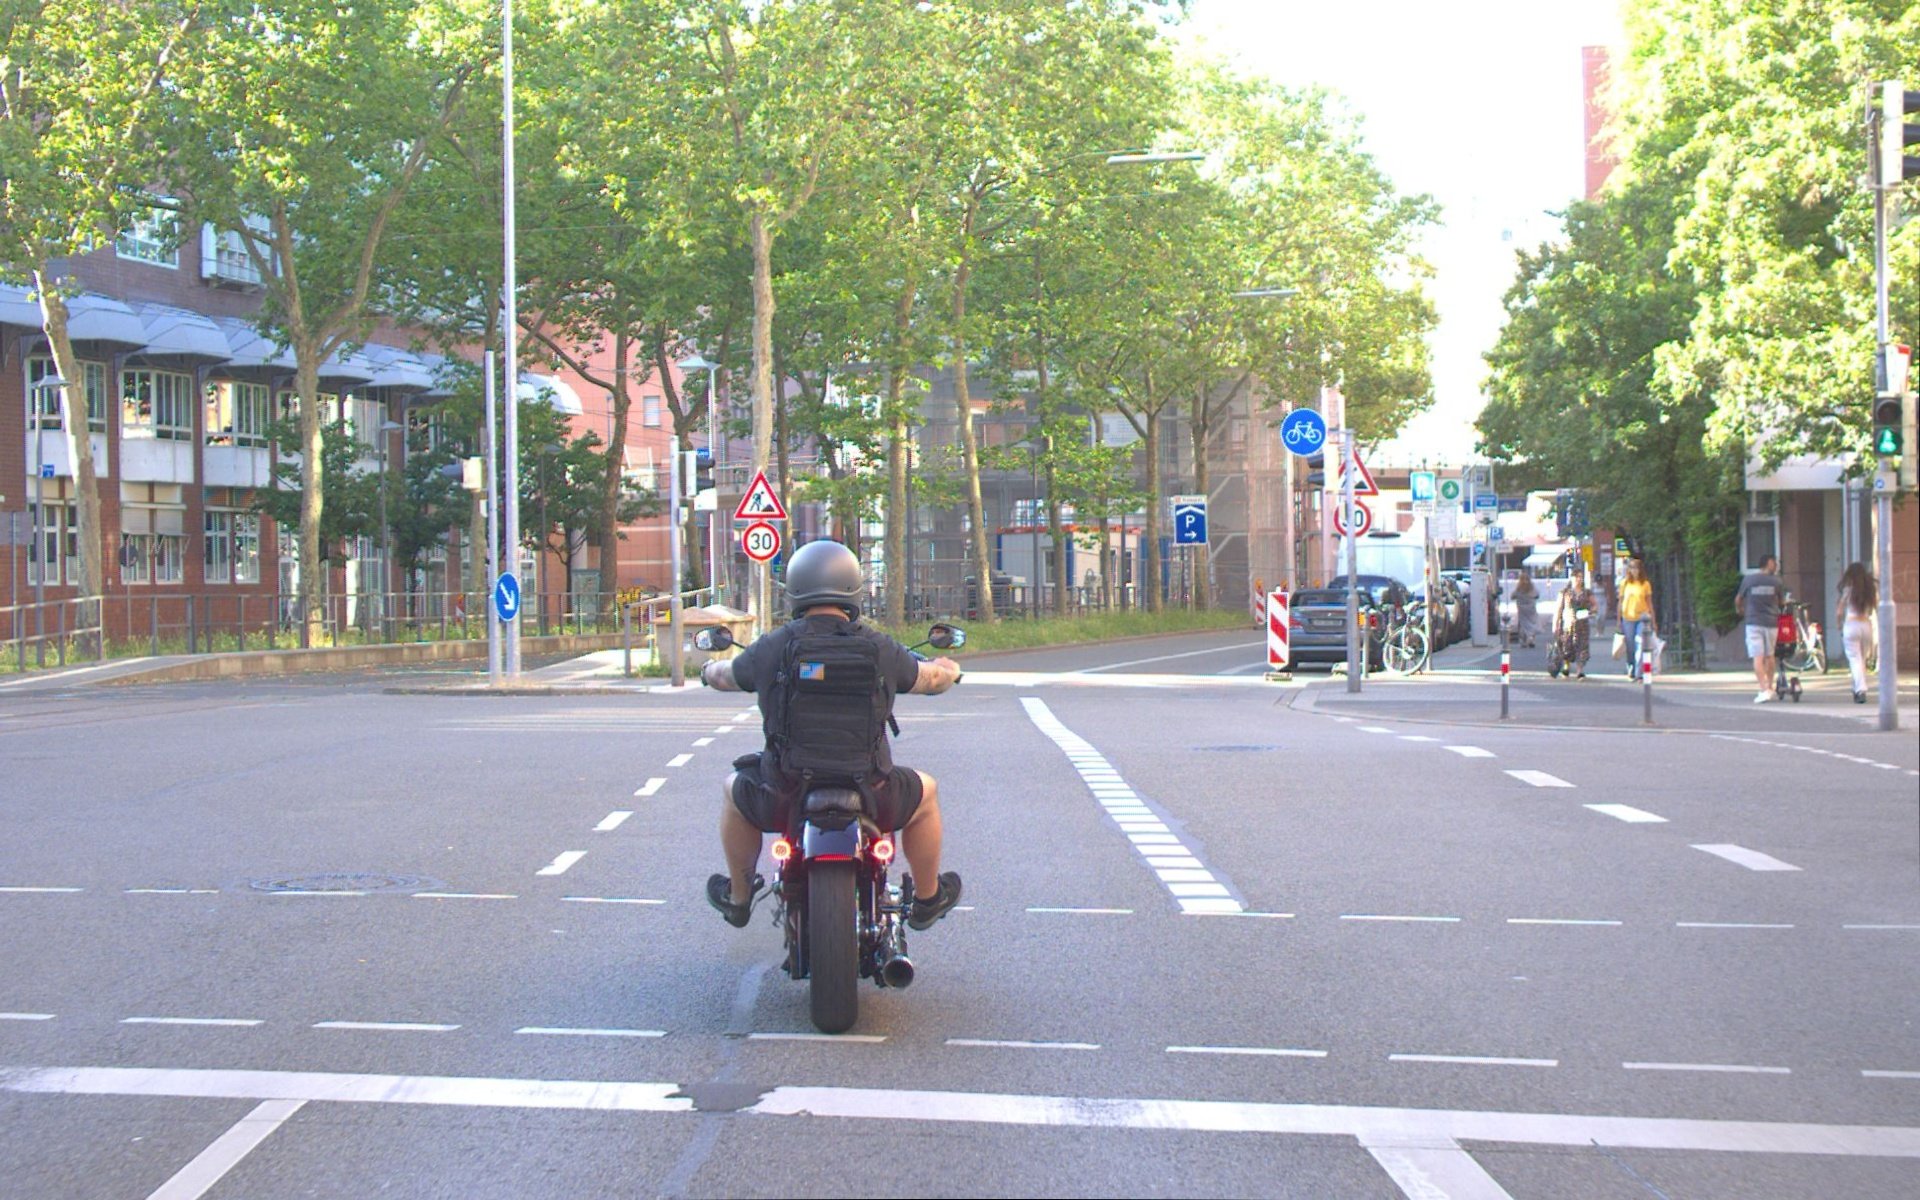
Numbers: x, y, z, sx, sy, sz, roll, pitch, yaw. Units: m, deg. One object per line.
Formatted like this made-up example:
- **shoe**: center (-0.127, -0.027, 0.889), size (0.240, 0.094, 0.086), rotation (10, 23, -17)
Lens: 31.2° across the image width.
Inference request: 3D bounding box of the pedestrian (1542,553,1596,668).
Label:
- **pedestrian**: center (8.406, 0.141, 47.440), size (0.644, 1.573, 0.748), rotation (0, 0, 4)

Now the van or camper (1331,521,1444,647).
- **van or camper**: center (9.040, -0.346, 72.418), size (2.049, 2.532, 5.770), rotation (0, 0, 10)

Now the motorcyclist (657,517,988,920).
- **motorcyclist**: center (-0.439, 0.375, 11.417), size (1.012, 1.258, 0.774), rotation (2, 1, 2)

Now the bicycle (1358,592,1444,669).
- **bicycle**: center (6.261, 0.421, 48.903), size (0.737, 1.049, 1.752), rotation (0, 0, -9)

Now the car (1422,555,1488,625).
- **car**: center (14.660, -0.297, 101.681), size (1.836, 2.007, 4.386), rotation (0, 0, 9)

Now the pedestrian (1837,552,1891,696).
- **pedestrian**: center (10.583, 0.277, 40.238), size (0.459, 1.667, 0.680), rotation (-1, 0, 2)

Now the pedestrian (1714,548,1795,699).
- **pedestrian**: center (9.391, 0.273, 40.635), size (0.785, 1.757, 0.610), rotation (-1, 0, -2)

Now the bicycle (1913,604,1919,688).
- **bicycle**: center (12.864, 0.568, 42.886), size (1.749, 1.049, 0.738), rotation (0, 0, 28)

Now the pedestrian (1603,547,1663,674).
- **pedestrian**: center (9.218, 0.142, 47.107), size (0.700, 1.727, 0.767), rotation (0, 0, 4)

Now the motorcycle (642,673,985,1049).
- **motorcycle**: center (-0.446, 0.827, 11.611), size (1.018, 1.093, 2.007), rotation (0, 1, 2)

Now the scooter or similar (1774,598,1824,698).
- **scooter or similar**: center (9.943, 0.558, 40.761), size (0.394, 1.154, 1.249), rotation (0, 0, 6)

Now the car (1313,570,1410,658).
- **car**: center (7.733, 0.241, 66.013), size (1.621, 1.614, 4.483), rotation (0, 0, 10)

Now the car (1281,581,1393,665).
- **car**: center (6.153, 0.345, 55.813), size (1.621, 1.298, 4.310), rotation (0, 0, 9)

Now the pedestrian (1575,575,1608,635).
- **pedestrian**: center (15.308, 0.124, 83.325), size (0.765, 1.440, 0.780), rotation (1, 0, 9)

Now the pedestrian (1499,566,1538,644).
- **pedestrian**: center (11.822, 0.115, 72.791), size (0.762, 1.639, 0.547), rotation (-1, 0, 3)

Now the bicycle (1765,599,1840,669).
- **bicycle**: center (11.780, 0.472, 48.093), size (0.737, 0.936, 1.752), rotation (0, 1, 4)

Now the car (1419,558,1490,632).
- **car**: center (13.774, -0.147, 95.660), size (1.836, 2.007, 4.386), rotation (0, 0, 9)

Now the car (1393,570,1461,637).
- **car**: center (11.591, 0.073, 85.270), size (1.621, 1.604, 3.773), rotation (0, 0, 8)
